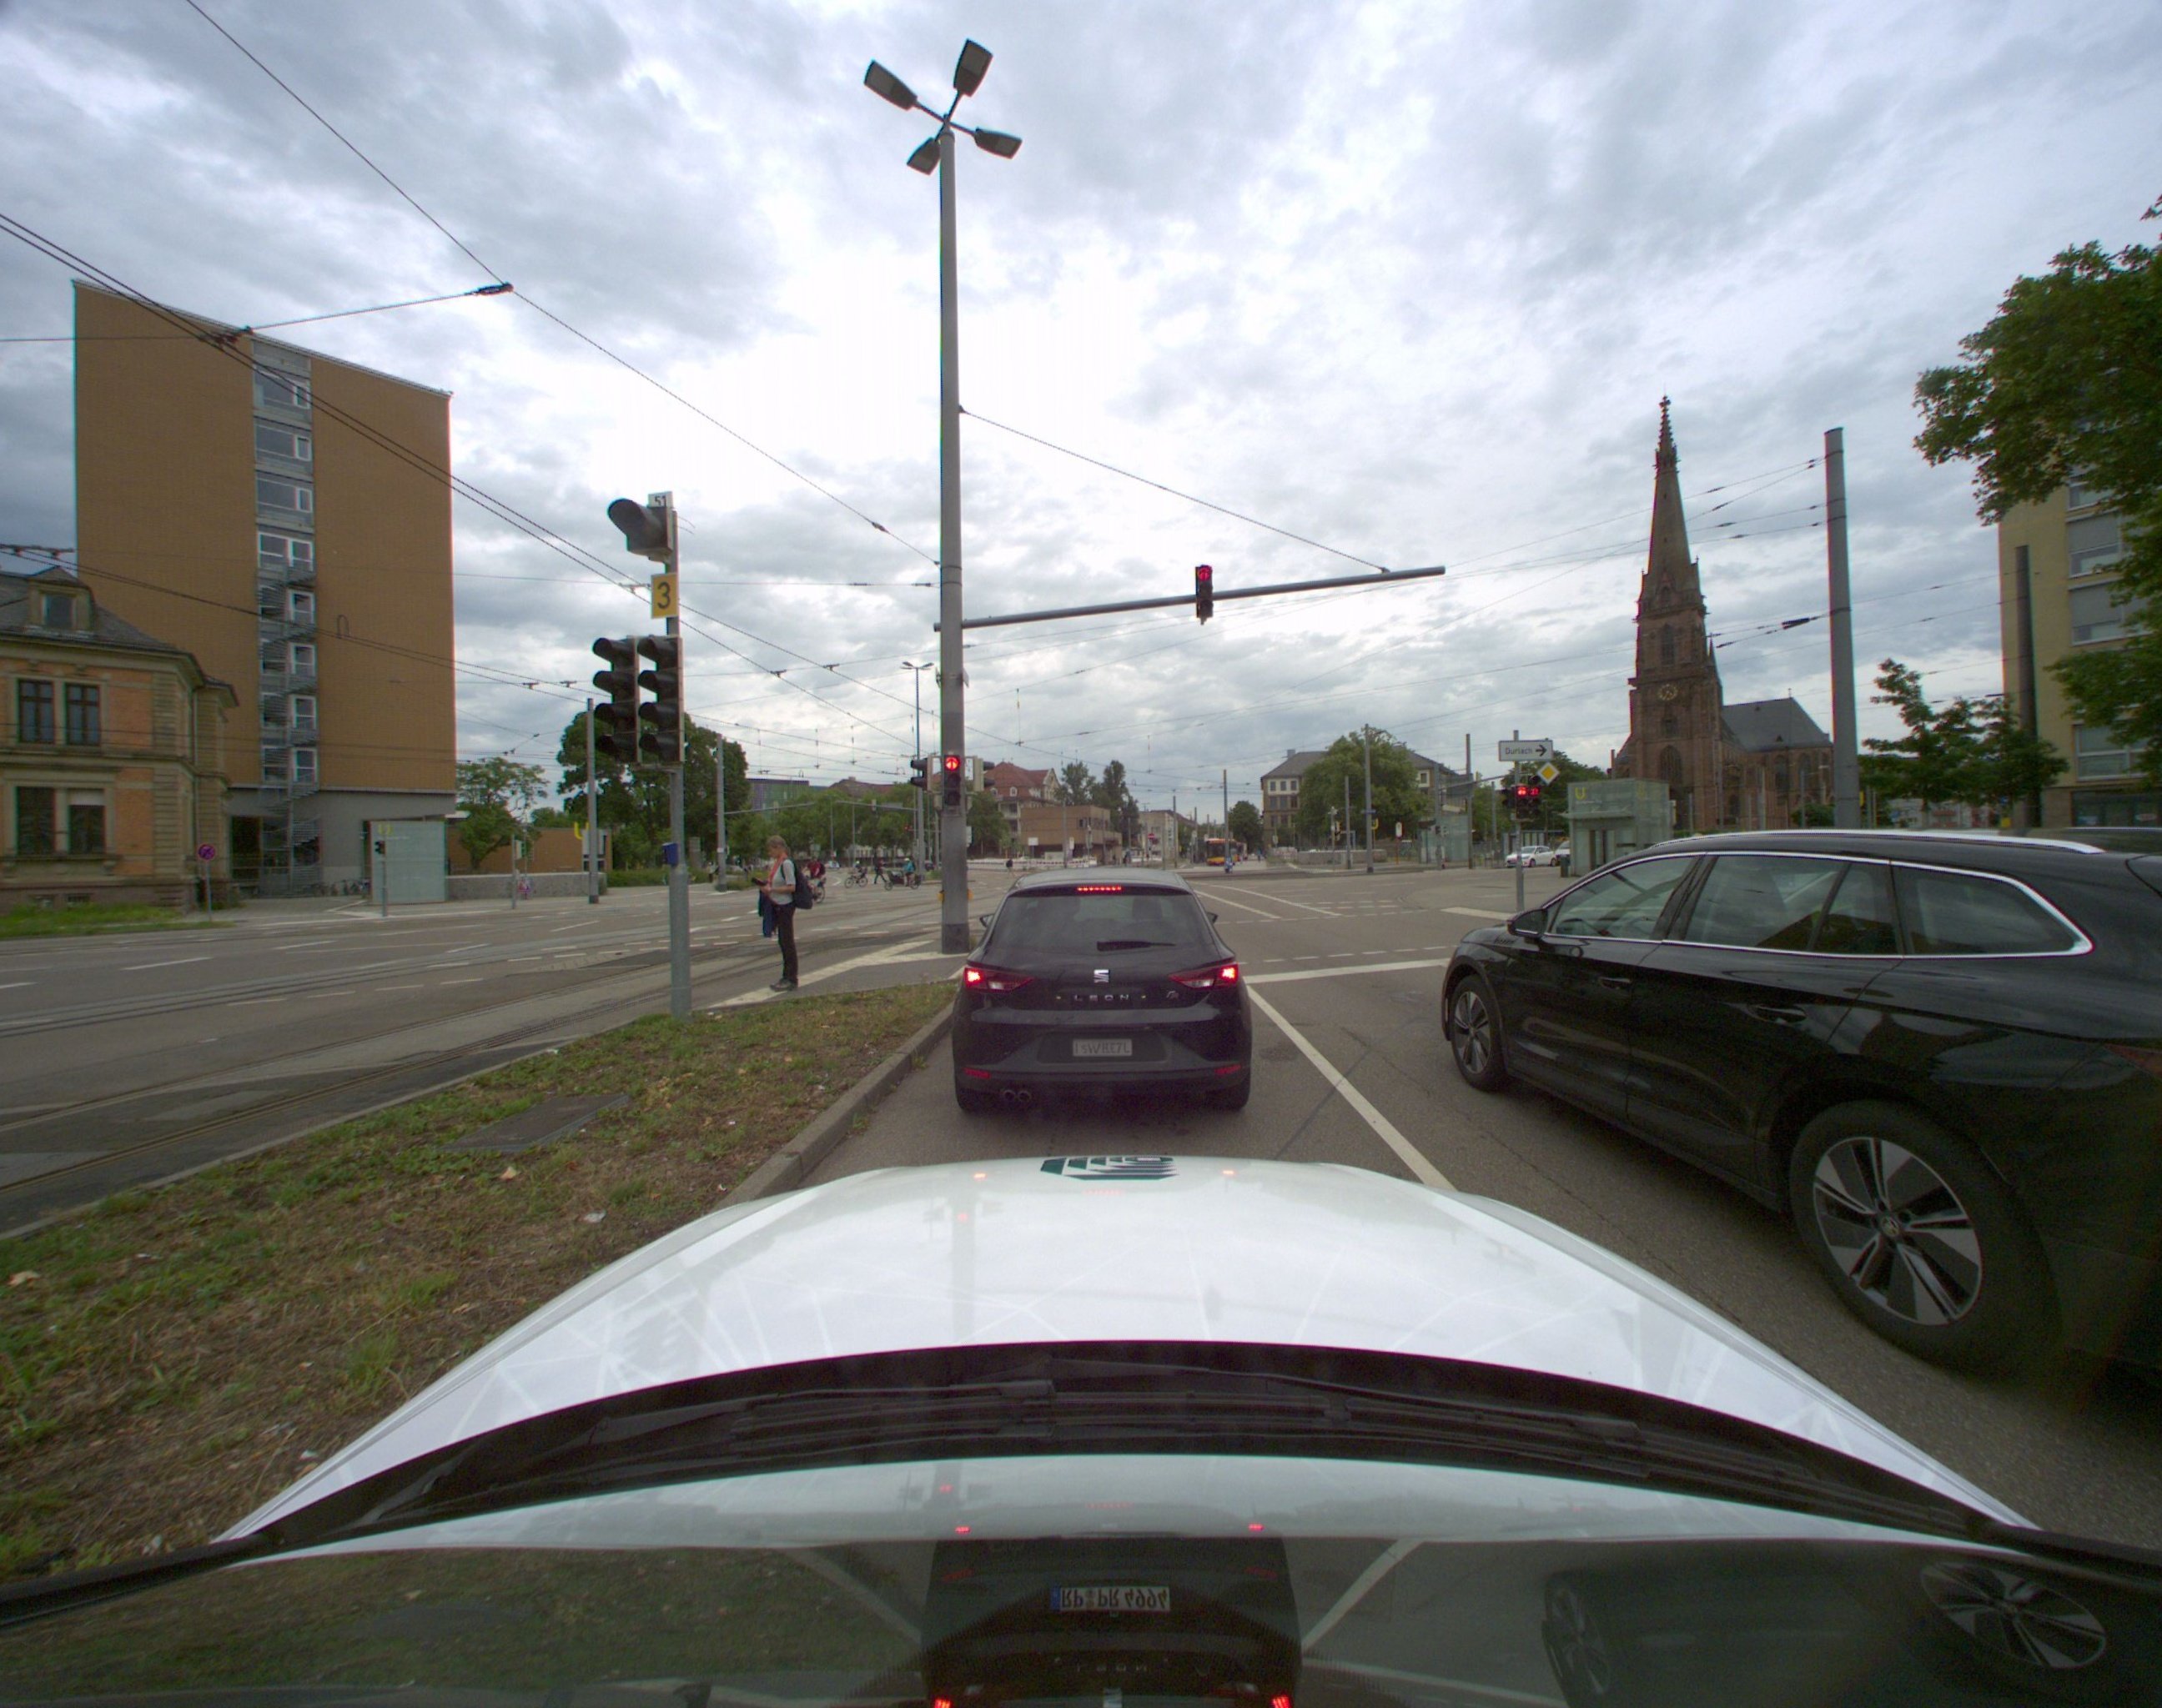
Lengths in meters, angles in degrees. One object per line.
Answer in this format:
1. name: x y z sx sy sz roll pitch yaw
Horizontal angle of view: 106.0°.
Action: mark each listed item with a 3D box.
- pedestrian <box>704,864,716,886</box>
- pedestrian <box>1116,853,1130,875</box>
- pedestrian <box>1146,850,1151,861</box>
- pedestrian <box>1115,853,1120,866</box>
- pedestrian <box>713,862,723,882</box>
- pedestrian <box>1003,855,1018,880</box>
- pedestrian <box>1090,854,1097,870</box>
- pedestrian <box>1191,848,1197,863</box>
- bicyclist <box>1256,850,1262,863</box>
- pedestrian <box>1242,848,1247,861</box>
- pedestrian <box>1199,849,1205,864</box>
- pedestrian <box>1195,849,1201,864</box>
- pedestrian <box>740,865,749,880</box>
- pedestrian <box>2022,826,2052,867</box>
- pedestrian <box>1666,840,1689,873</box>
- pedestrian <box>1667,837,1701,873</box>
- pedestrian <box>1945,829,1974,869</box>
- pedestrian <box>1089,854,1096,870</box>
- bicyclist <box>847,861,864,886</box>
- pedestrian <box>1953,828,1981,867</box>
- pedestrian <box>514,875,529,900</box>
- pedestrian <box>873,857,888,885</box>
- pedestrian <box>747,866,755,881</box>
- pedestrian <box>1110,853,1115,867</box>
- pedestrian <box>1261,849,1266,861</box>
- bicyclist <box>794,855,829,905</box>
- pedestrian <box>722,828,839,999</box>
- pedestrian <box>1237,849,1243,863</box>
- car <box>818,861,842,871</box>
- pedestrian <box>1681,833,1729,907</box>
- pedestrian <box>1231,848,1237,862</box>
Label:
1. pedestrian: -33.906 1.962 74.424 0.799 1.981 0.872 -1 -2 -33
2. pedestrian: 3.732 0.920 72.454 0.692 1.934 1.037 -2 0 40
3. pedestrian: 11.347 0.286 137.507 0.615 1.918 0.715 -3 -2 27
4. pedestrian: 5.098 0.773 113.695 0.618 1.918 0.711 -2 0 5
5. pedestrian: -36.933 1.841 82.864 0.799 1.981 0.872 -1 -2 -33
6. pedestrian: -5.610 1.096 64.865 1.032 1.934 0.695 -2 0 -24
7. pedestrian: 1.512 0.950 97.516 0.704 1.918 0.625 -2 0 9
8. pedestrian: 14.437 0.163 103.960 0.617 1.918 0.701 -2 0 11
9. bicyclist: 26.210 0.331 119.825 0.865 1.851 1.052 -2 0 14
10. pedestrian: 24.336 0.096 121.075 0.659 2.013 0.692 -1 0 2
11. pedestrian: 15.487 0.340 104.339 0.617 1.918 0.701 -2 0 11
12. pedestrian: 15.156 0.356 105.332 0.618 1.918 0.711 -2 0 5
13. pedestrian: -43.815 2.445 106.124 0.876 1.981 0.795 -2 -2 -3
14. pedestrian: 38.415 -0.307 32.727 0.875 1.638 0.631 -1 0 -31
15. pedestrian: 29.908 0.113 40.834 0.875 1.638 0.631 -1 0 -32
16. pedestrian: 31.188 0.056 42.111 0.951 1.797 1.076 -1 -2 -34
17. pedestrian: 36.450 -0.221 33.785 0.875 1.638 0.631 -1 0 -31
18. pedestrian: 1.355 0.936 96.723 0.704 1.918 0.625 -2 0 9
19. bicyclist: -15.254 1.333 55.094 0.860 1.673 0.647 -1 0 -36
20. pedestrian: 37.332 -0.272 34.320 0.875 1.638 0.631 -1 0 -32
21. pedestrian: -30.674 1.853 44.668 0.492 1.336 0.577 -2 -1 41
22. pedestrian: -14.821 1.253 60.165 1.023 2.013 0.841 -1 0 -18
23. pedestrian: -42.687 2.505 105.423 0.880 1.981 0.791 -1 -2 -17
24. pedestrian: 4.420 0.857 113.810 0.618 1.918 0.711 -2 0 5
25. pedestrian: 29.689 0.188 132.212 0.659 2.013 0.692 -1 0 2
26. bicyclist: -10.589 1.014 31.970 0.768 1.898 1.003 -2 0 30
27. pedestrian: -3.594 0.667 9.757 1.110 1.907 0.727 0 -1 -41
28. pedestrian: 20.624 0.240 105.689 0.589 1.884 0.535 -2 0 28
29. car: -46.433 2.192 150.828 3.953 1.772 1.725 -2 0 21
30. pedestrian: 16.719 0.418 21.825 0.878 1.930 1.023 -1 0 43
31. pedestrian: 22.591 0.132 120.342 0.684 2.013 0.667 -2 0 17
